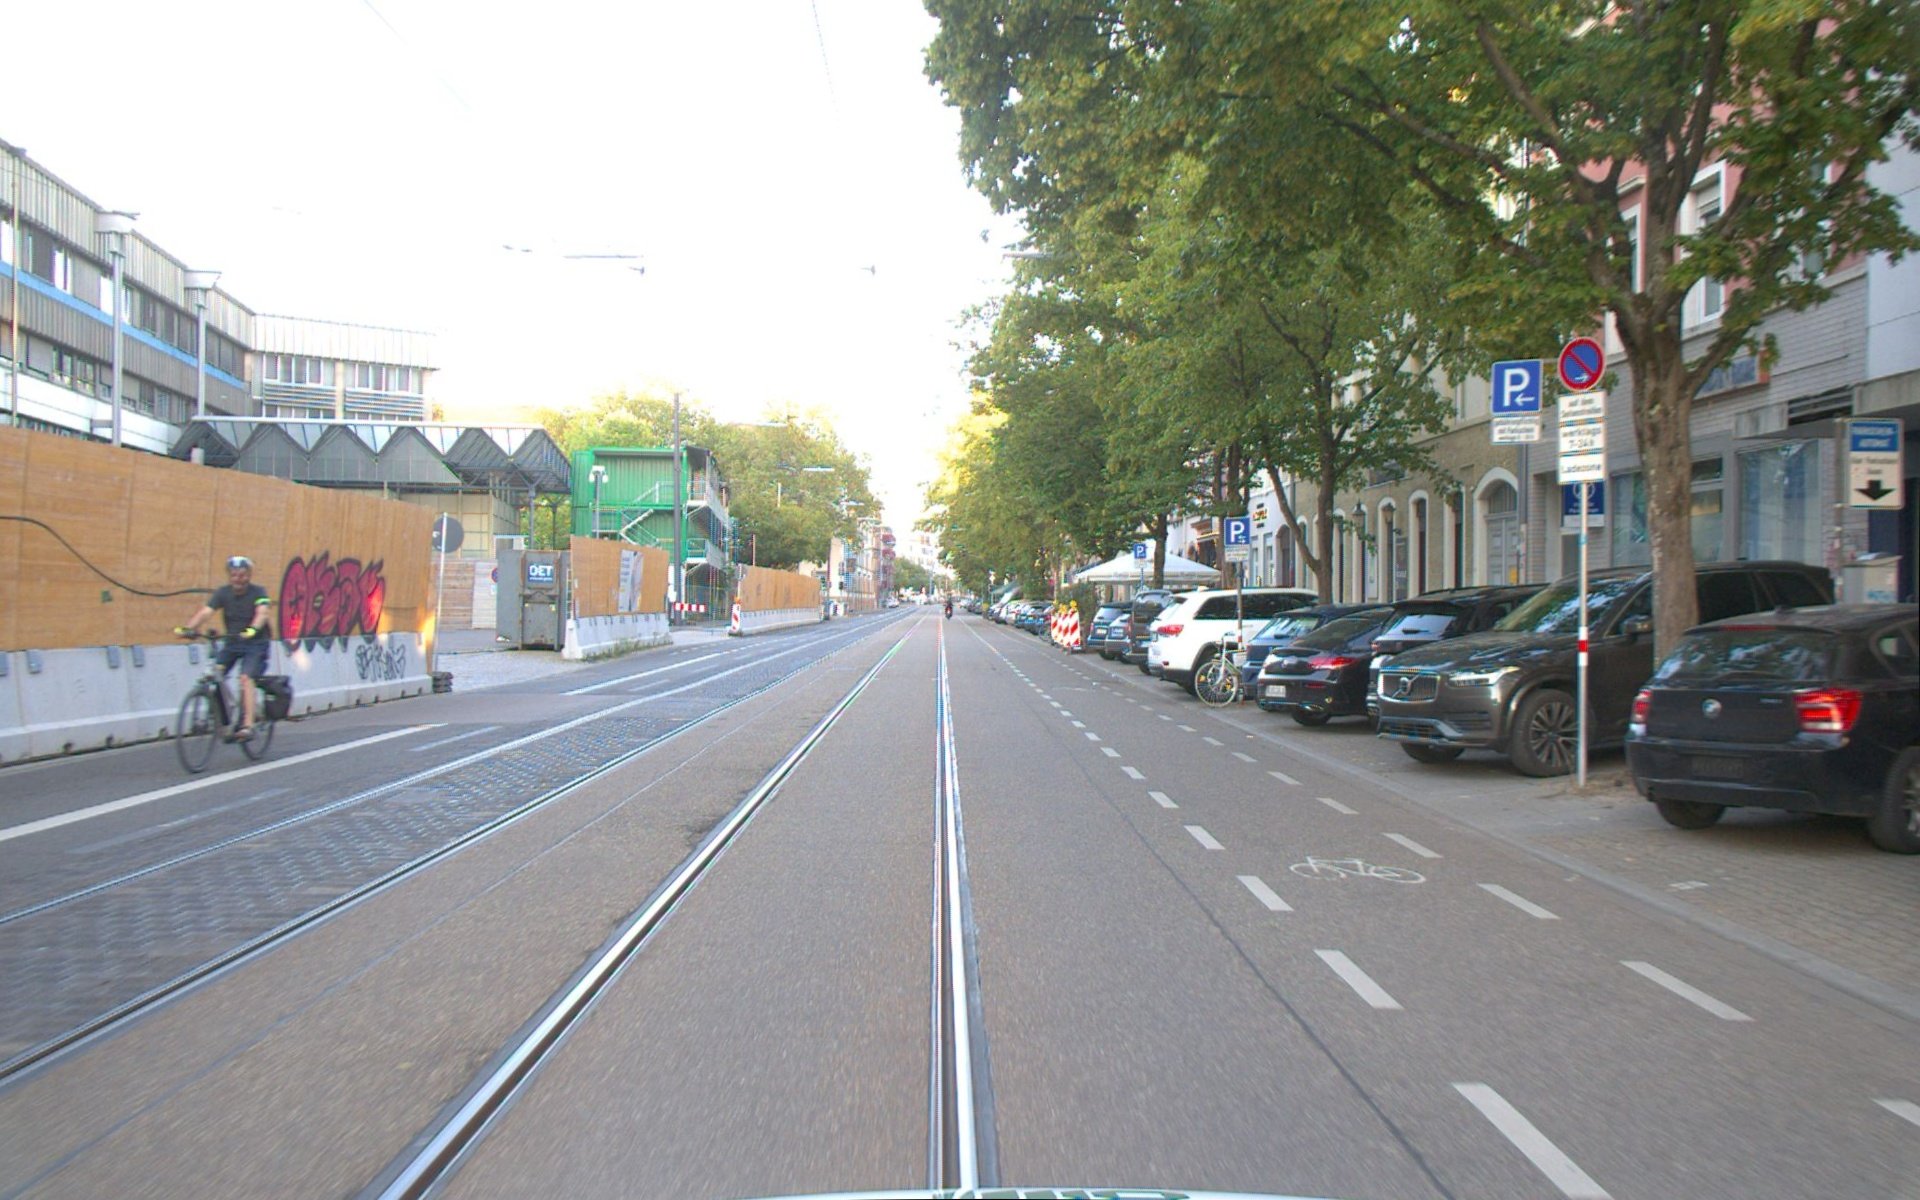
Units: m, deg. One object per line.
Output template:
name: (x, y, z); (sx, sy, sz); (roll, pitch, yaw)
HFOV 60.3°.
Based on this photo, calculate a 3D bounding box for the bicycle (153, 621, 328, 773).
bicycle: (-6.438, 0.831, 14.919); (0.752, 1.249, 1.936); (0, 0, -1)

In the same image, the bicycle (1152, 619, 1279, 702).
bicycle: (3.842, 0.895, 24.874); (1.805, 1.122, 0.496); (-3, 1, -15)

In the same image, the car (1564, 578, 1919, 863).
car: (6.281, 0.647, 11.102); (4.109, 1.490, 1.952); (-3, 0, -29)

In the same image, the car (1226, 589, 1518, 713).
car: (5.763, 0.675, 23.137); (3.700, 1.451, 1.713); (-3, 0, -26)

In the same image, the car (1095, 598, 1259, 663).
car: (5.401, 0.735, 41.067); (3.727, 1.432, 1.691); (-2, 0, -26)

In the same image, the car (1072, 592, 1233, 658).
car: (5.078, 0.632, 43.507); (3.913, 1.580, 1.691); (-2, 0, -27)

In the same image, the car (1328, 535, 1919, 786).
car: (6.120, 0.466, 15.227); (4.890, 1.858, 2.196); (-3, 0, -19)

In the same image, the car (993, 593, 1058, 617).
car: (4.401, 0.322, 111.476); (3.900, 1.512, 1.906); (-1, -1, -25)

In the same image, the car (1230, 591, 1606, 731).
car: (5.646, 0.698, 20.431); (4.155, 1.451, 1.962); (-2, 0, -23)

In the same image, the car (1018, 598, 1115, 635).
car: (4.934, 0.754, 76.713); (4.053, 1.496, 1.814); (-3, 0, -19)

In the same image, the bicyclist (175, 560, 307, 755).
bicyclist: (-6.445, 0.498, 14.869); (0.752, 1.694, 1.018); (0, 0, -1)

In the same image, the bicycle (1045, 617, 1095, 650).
bicycle: (3.849, 1.176, 57.951); (1.645, 1.049, 0.556); (-3, 0, -3)

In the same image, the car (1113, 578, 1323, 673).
car: (5.551, 0.521, 35.565); (4.102, 1.838, 1.988); (-2, 0, -29)

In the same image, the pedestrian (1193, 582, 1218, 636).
pedestrian: (8.144, 0.301, 54.949); (0.541, 1.794, 0.850); (0, 0, -13)

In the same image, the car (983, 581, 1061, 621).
car: (4.361, 0.060, 116.267); (5.015, 2.689, 2.011); (-2, -1, -18)

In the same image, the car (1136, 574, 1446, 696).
car: (5.301, 0.541, 26.893); (4.556, 1.717, 2.007); (-2, 0, -3)

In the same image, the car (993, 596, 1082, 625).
car: (4.019, 0.552, 86.044); (4.195, 1.416, 2.000); (-1, 0, -24)

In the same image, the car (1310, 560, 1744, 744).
car: (6.188, 0.509, 18.141); (4.149, 1.677, 1.965); (-3, 0, -19)

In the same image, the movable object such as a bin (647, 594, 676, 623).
movable object such as a bin: (-14.363, 0.408, 79.610); (1.280, 1.393, 0.783); (0, 0, -4)

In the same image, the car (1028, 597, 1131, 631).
car: (5.200, 0.602, 71.857); (4.100, 1.451, 1.813); (0, 0, -20)

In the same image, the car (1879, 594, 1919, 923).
car: (6.480, 0.648, 8.101); (3.844, 1.528, 1.794); (-3, 0, -32)

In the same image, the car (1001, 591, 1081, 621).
car: (4.583, 0.327, 94.237); (4.175, 1.576, 2.014); (-1, 0, -12)

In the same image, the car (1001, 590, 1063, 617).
car: (4.659, 0.216, 107.649); (3.870, 1.648, 1.920); (-2, -1, 0)

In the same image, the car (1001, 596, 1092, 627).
car: (4.273, 0.569, 81.490); (4.064, 1.496, 1.999); (0, 0, -25)
